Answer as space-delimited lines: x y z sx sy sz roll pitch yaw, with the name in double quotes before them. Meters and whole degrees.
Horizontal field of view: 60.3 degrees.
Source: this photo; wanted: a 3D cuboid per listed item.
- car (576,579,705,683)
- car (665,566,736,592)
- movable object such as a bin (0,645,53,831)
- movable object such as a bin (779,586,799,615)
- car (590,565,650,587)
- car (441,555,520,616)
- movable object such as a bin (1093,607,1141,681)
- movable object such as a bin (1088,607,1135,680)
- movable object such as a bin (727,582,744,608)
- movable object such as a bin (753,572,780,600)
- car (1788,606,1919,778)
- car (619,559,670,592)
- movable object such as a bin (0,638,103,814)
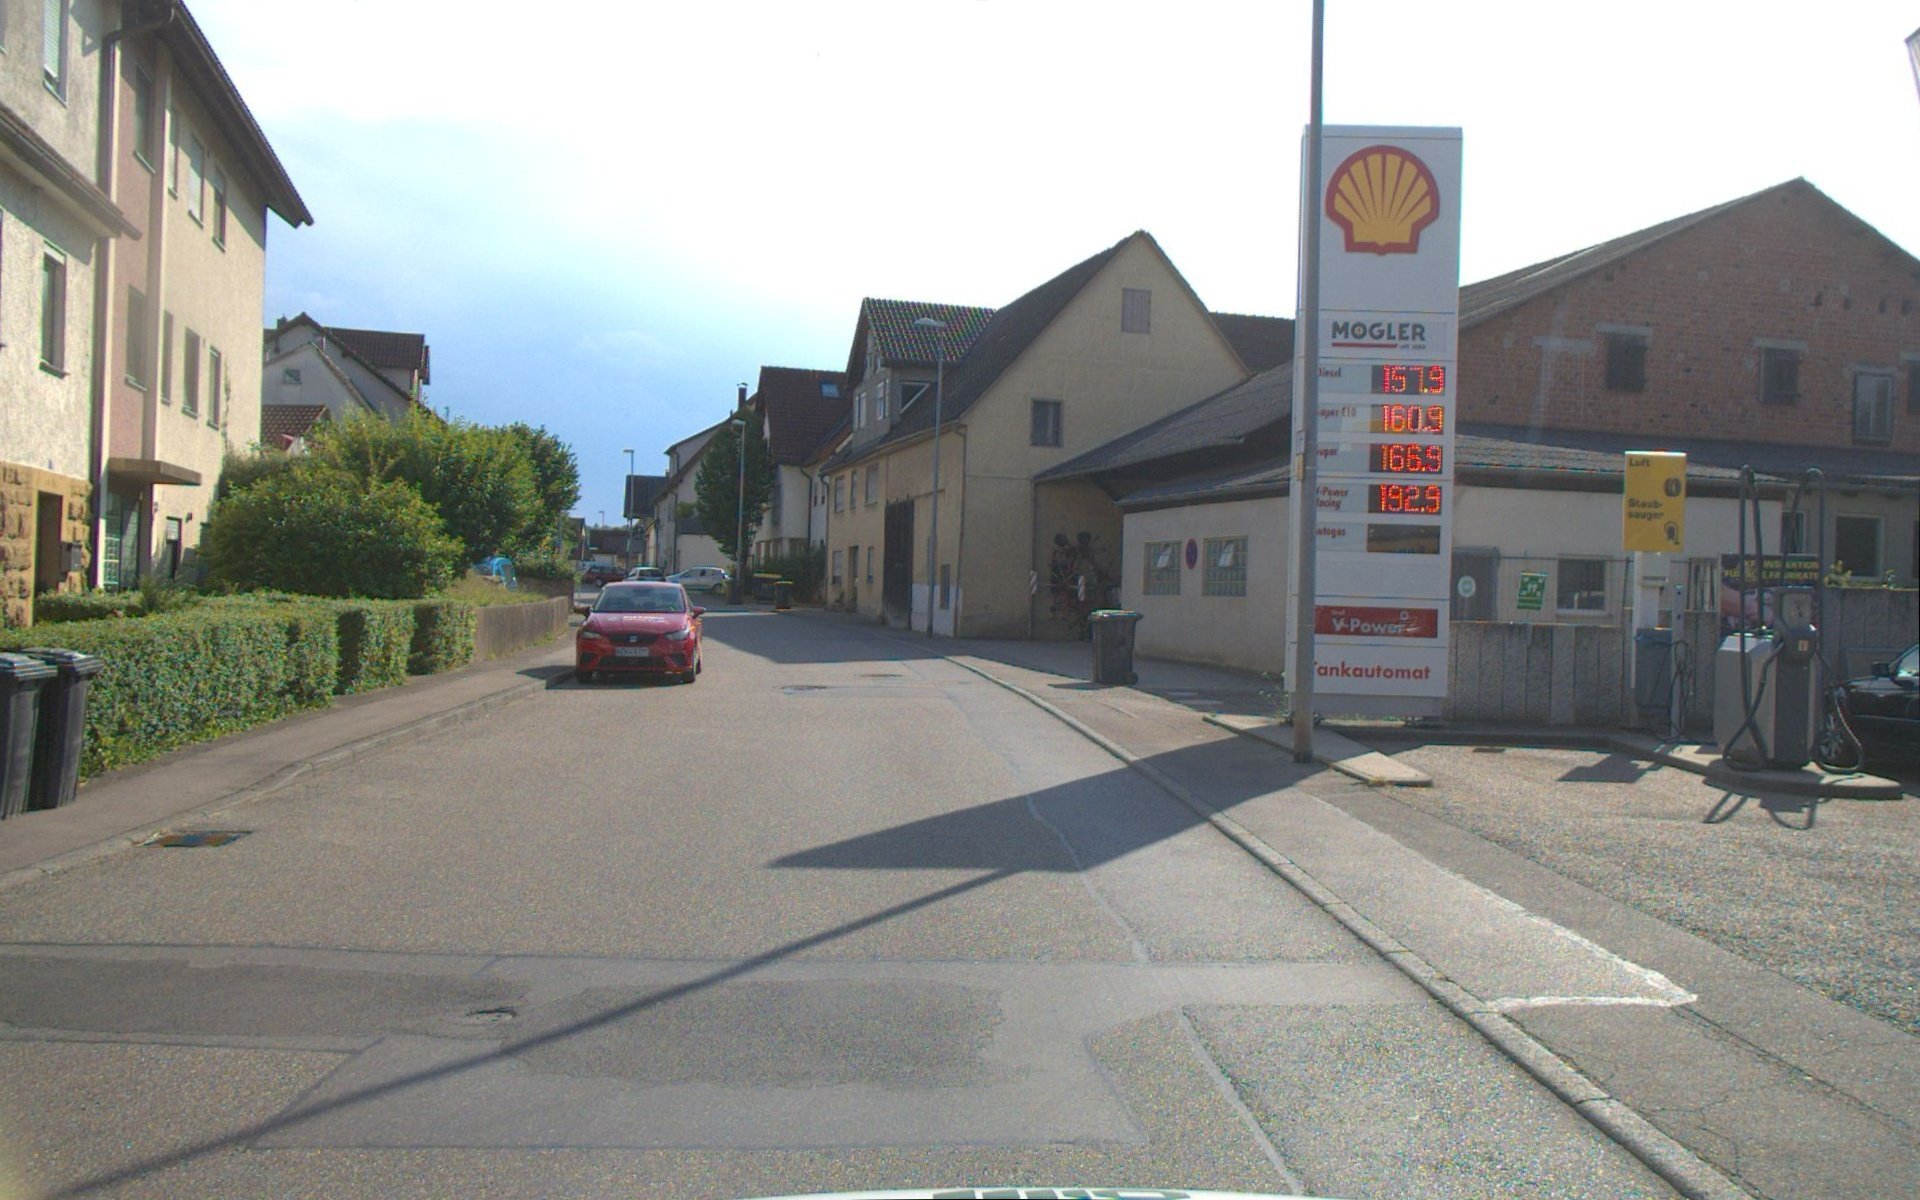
"car" -4.770 0.429 25.082 1.676 1.460 3.774 0 0 -7
"car" -14.772 -1.200 94.220 3.913 1.376 1.707 2 0 -9
"movable object such as a bin" -5.673 0.793 9.639 0.520 1.040 0.457 0 0 -1
"movable object such as a bin" -6.599 0.002 63.828 0.642 1.092 0.511 1 0 -16
"car" -23.213 -1.627 112.867 3.921 1.376 1.703 2 0 -16
"car" -11.433 -0.333 39.570 1.333 1.396 3.190 0 0 -7
"movable object such as a bin" 2.377 0.664 25.061 0.640 1.092 0.513 2 0 -3
"movable object such as a bin" 2.345 0.664 25.614 0.640 1.092 0.513 2 0 -3
"movable object such as a bin" -9.766 -0.226 72.048 0.642 1.092 0.511 1 0 -16
"movable object such as a bin" -8.642 -0.618 73.930 1.140 1.188 0.653 1 0 -12
"car" 9.091 0.841 14.284 1.546 1.452 4.380 2 1 -2
"car" -16.128 -1.273 84.450 1.683 1.606 3.970 1 0 -24
"movable object such as a bin" -5.623 0.761 10.120 0.520 1.040 0.457 0 0 -1
